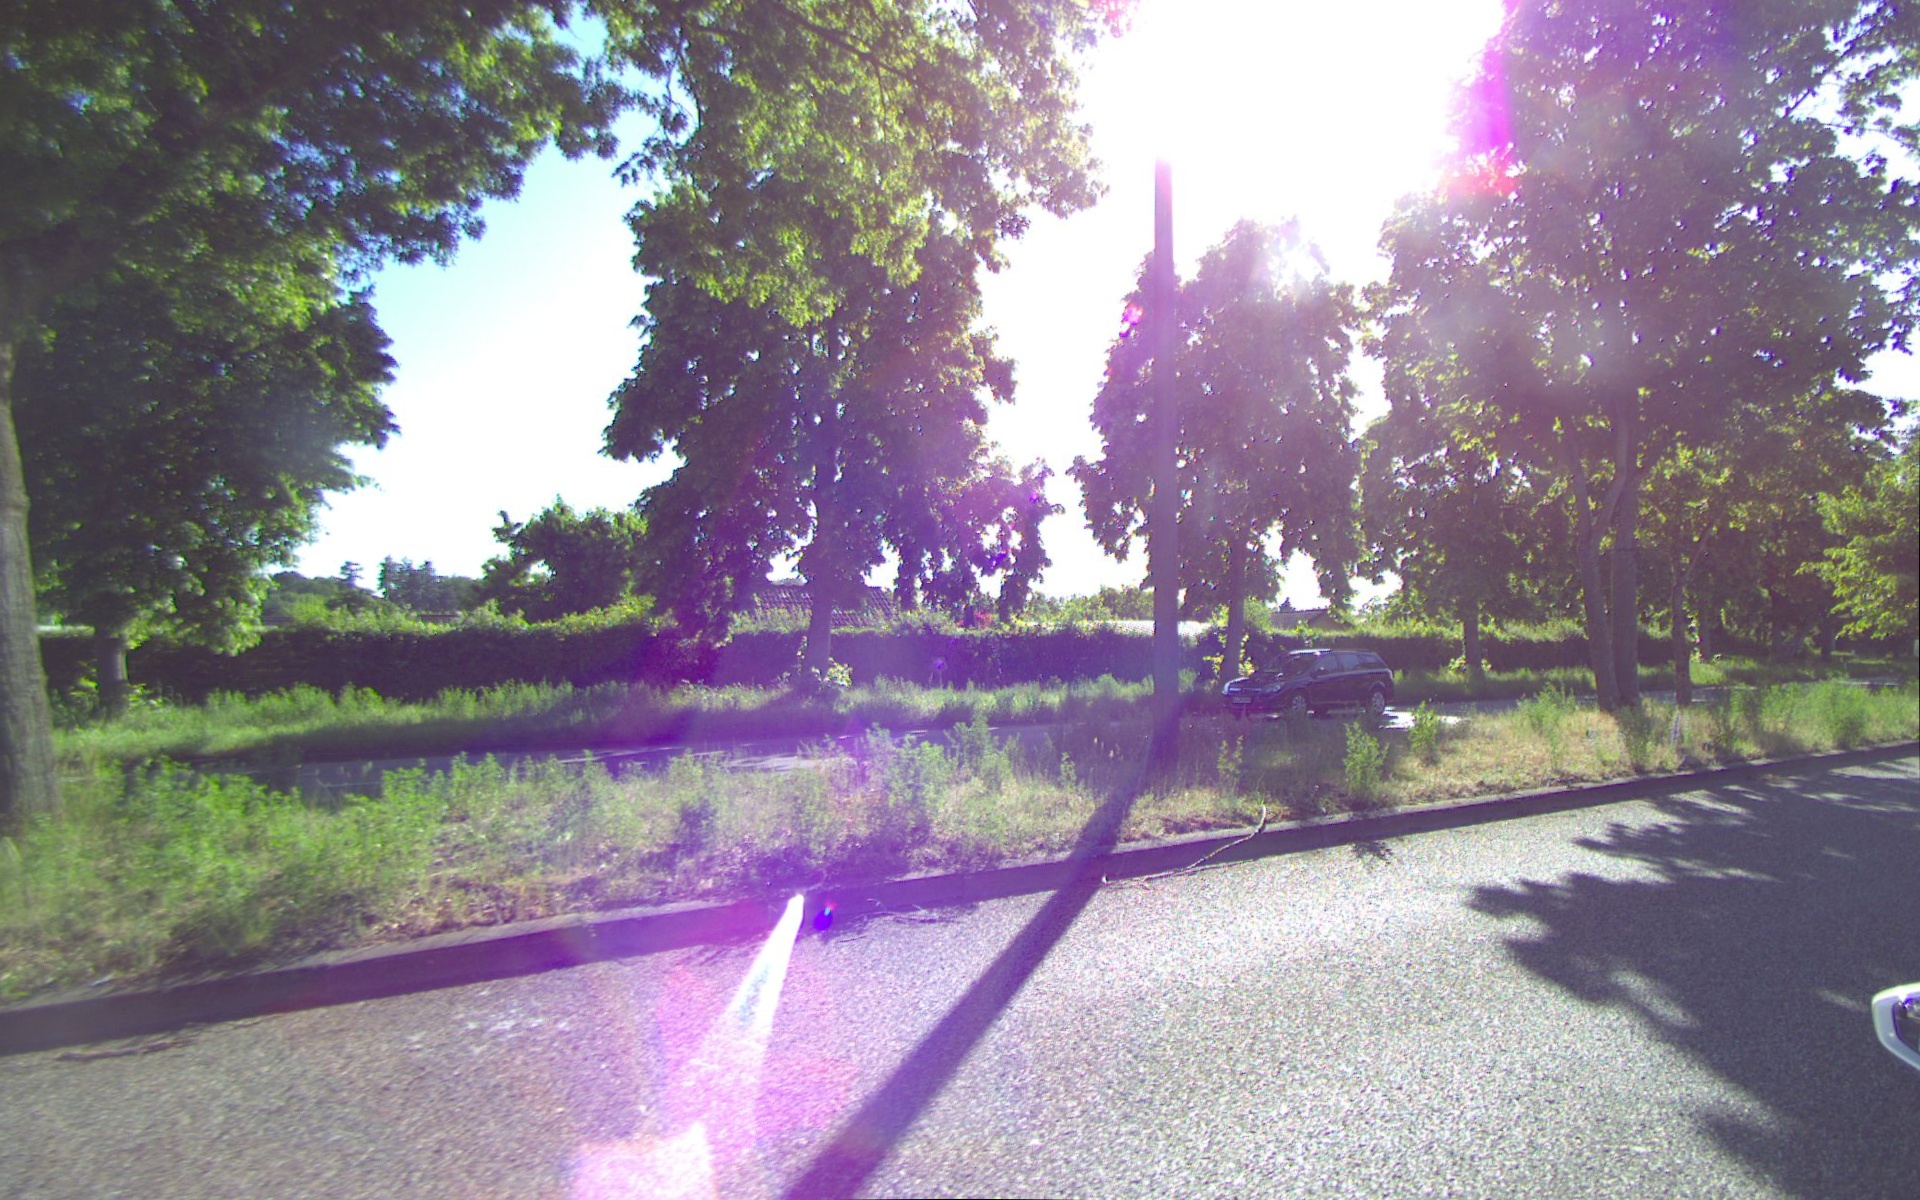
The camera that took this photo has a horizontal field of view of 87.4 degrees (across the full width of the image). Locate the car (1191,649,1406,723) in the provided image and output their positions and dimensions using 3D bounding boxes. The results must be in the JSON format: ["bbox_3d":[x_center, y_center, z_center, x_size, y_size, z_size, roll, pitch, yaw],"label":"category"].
[{"bbox_3d":[7.449,1.821,21.951,4.884,1.455,1.684,2,-4,-31],"label":"car"}]
